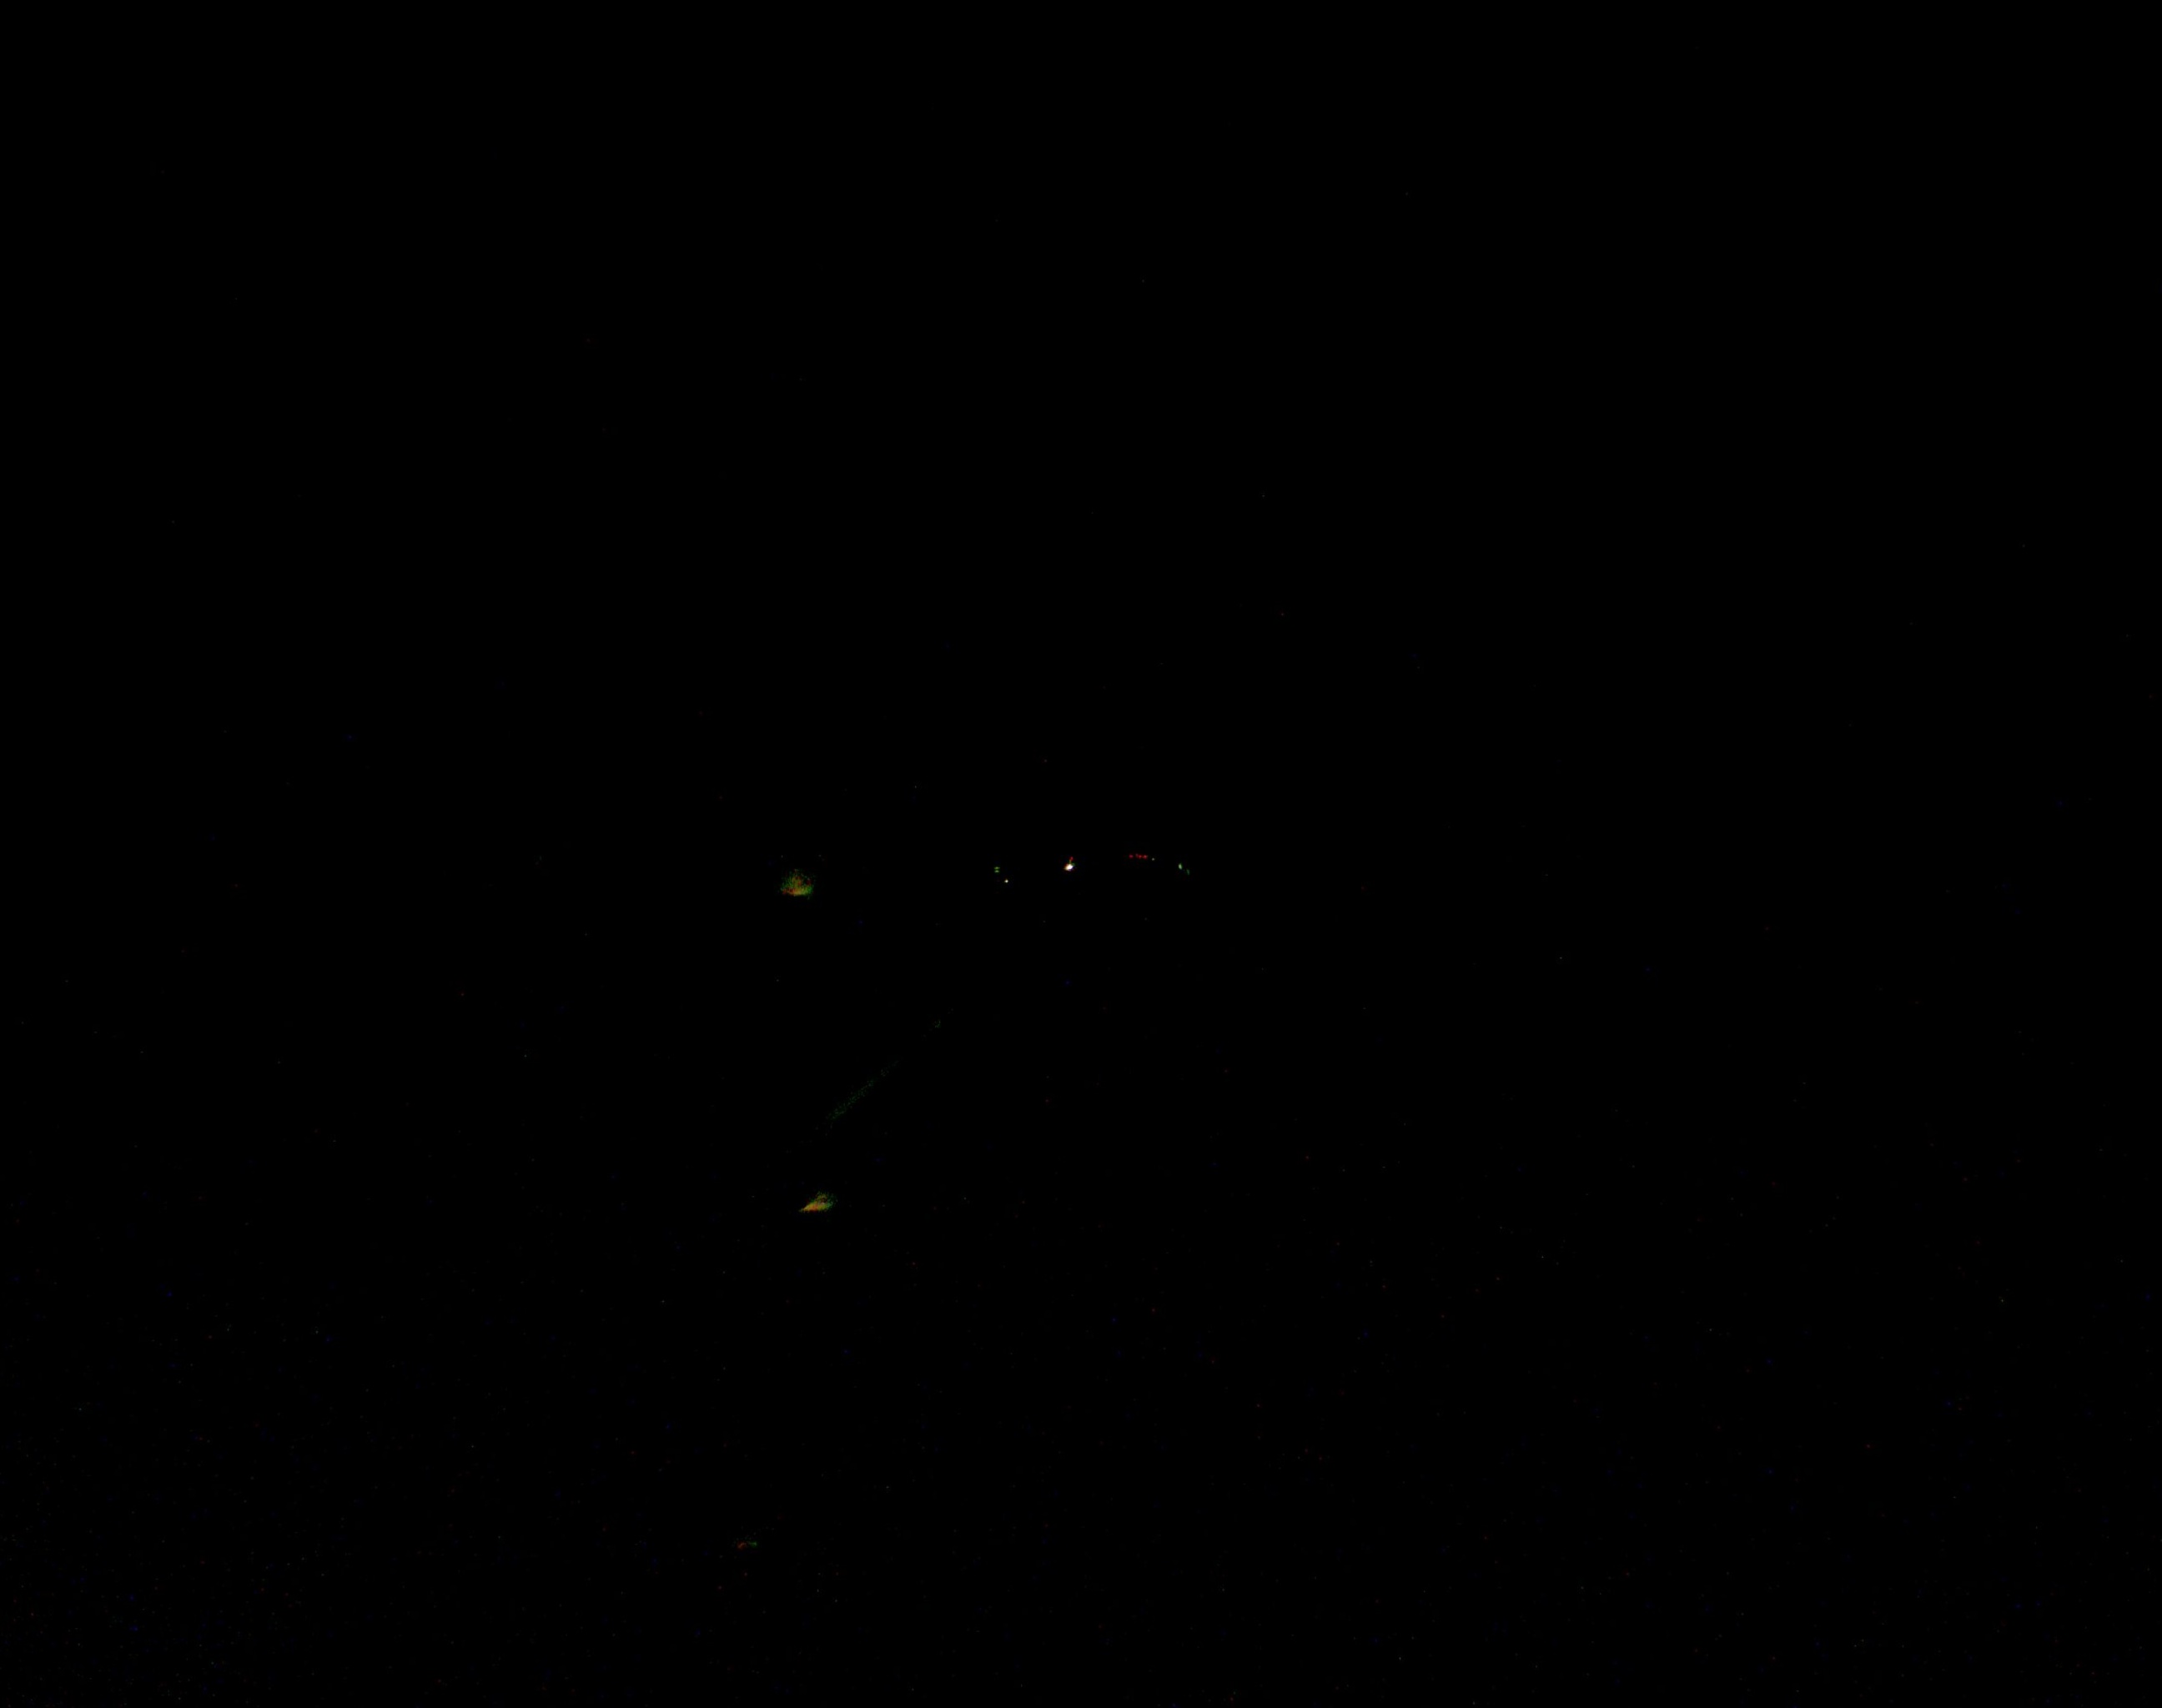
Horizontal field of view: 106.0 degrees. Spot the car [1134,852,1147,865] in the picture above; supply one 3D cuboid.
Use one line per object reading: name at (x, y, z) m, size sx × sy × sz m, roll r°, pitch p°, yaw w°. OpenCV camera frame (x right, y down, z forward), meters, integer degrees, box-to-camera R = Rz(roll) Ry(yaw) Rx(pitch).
car at (9.998, 0.736, 136.697) m, size 2.187 × 2.014 × 4.211 m, roll -2°, pitch -3°, yaw 5°
